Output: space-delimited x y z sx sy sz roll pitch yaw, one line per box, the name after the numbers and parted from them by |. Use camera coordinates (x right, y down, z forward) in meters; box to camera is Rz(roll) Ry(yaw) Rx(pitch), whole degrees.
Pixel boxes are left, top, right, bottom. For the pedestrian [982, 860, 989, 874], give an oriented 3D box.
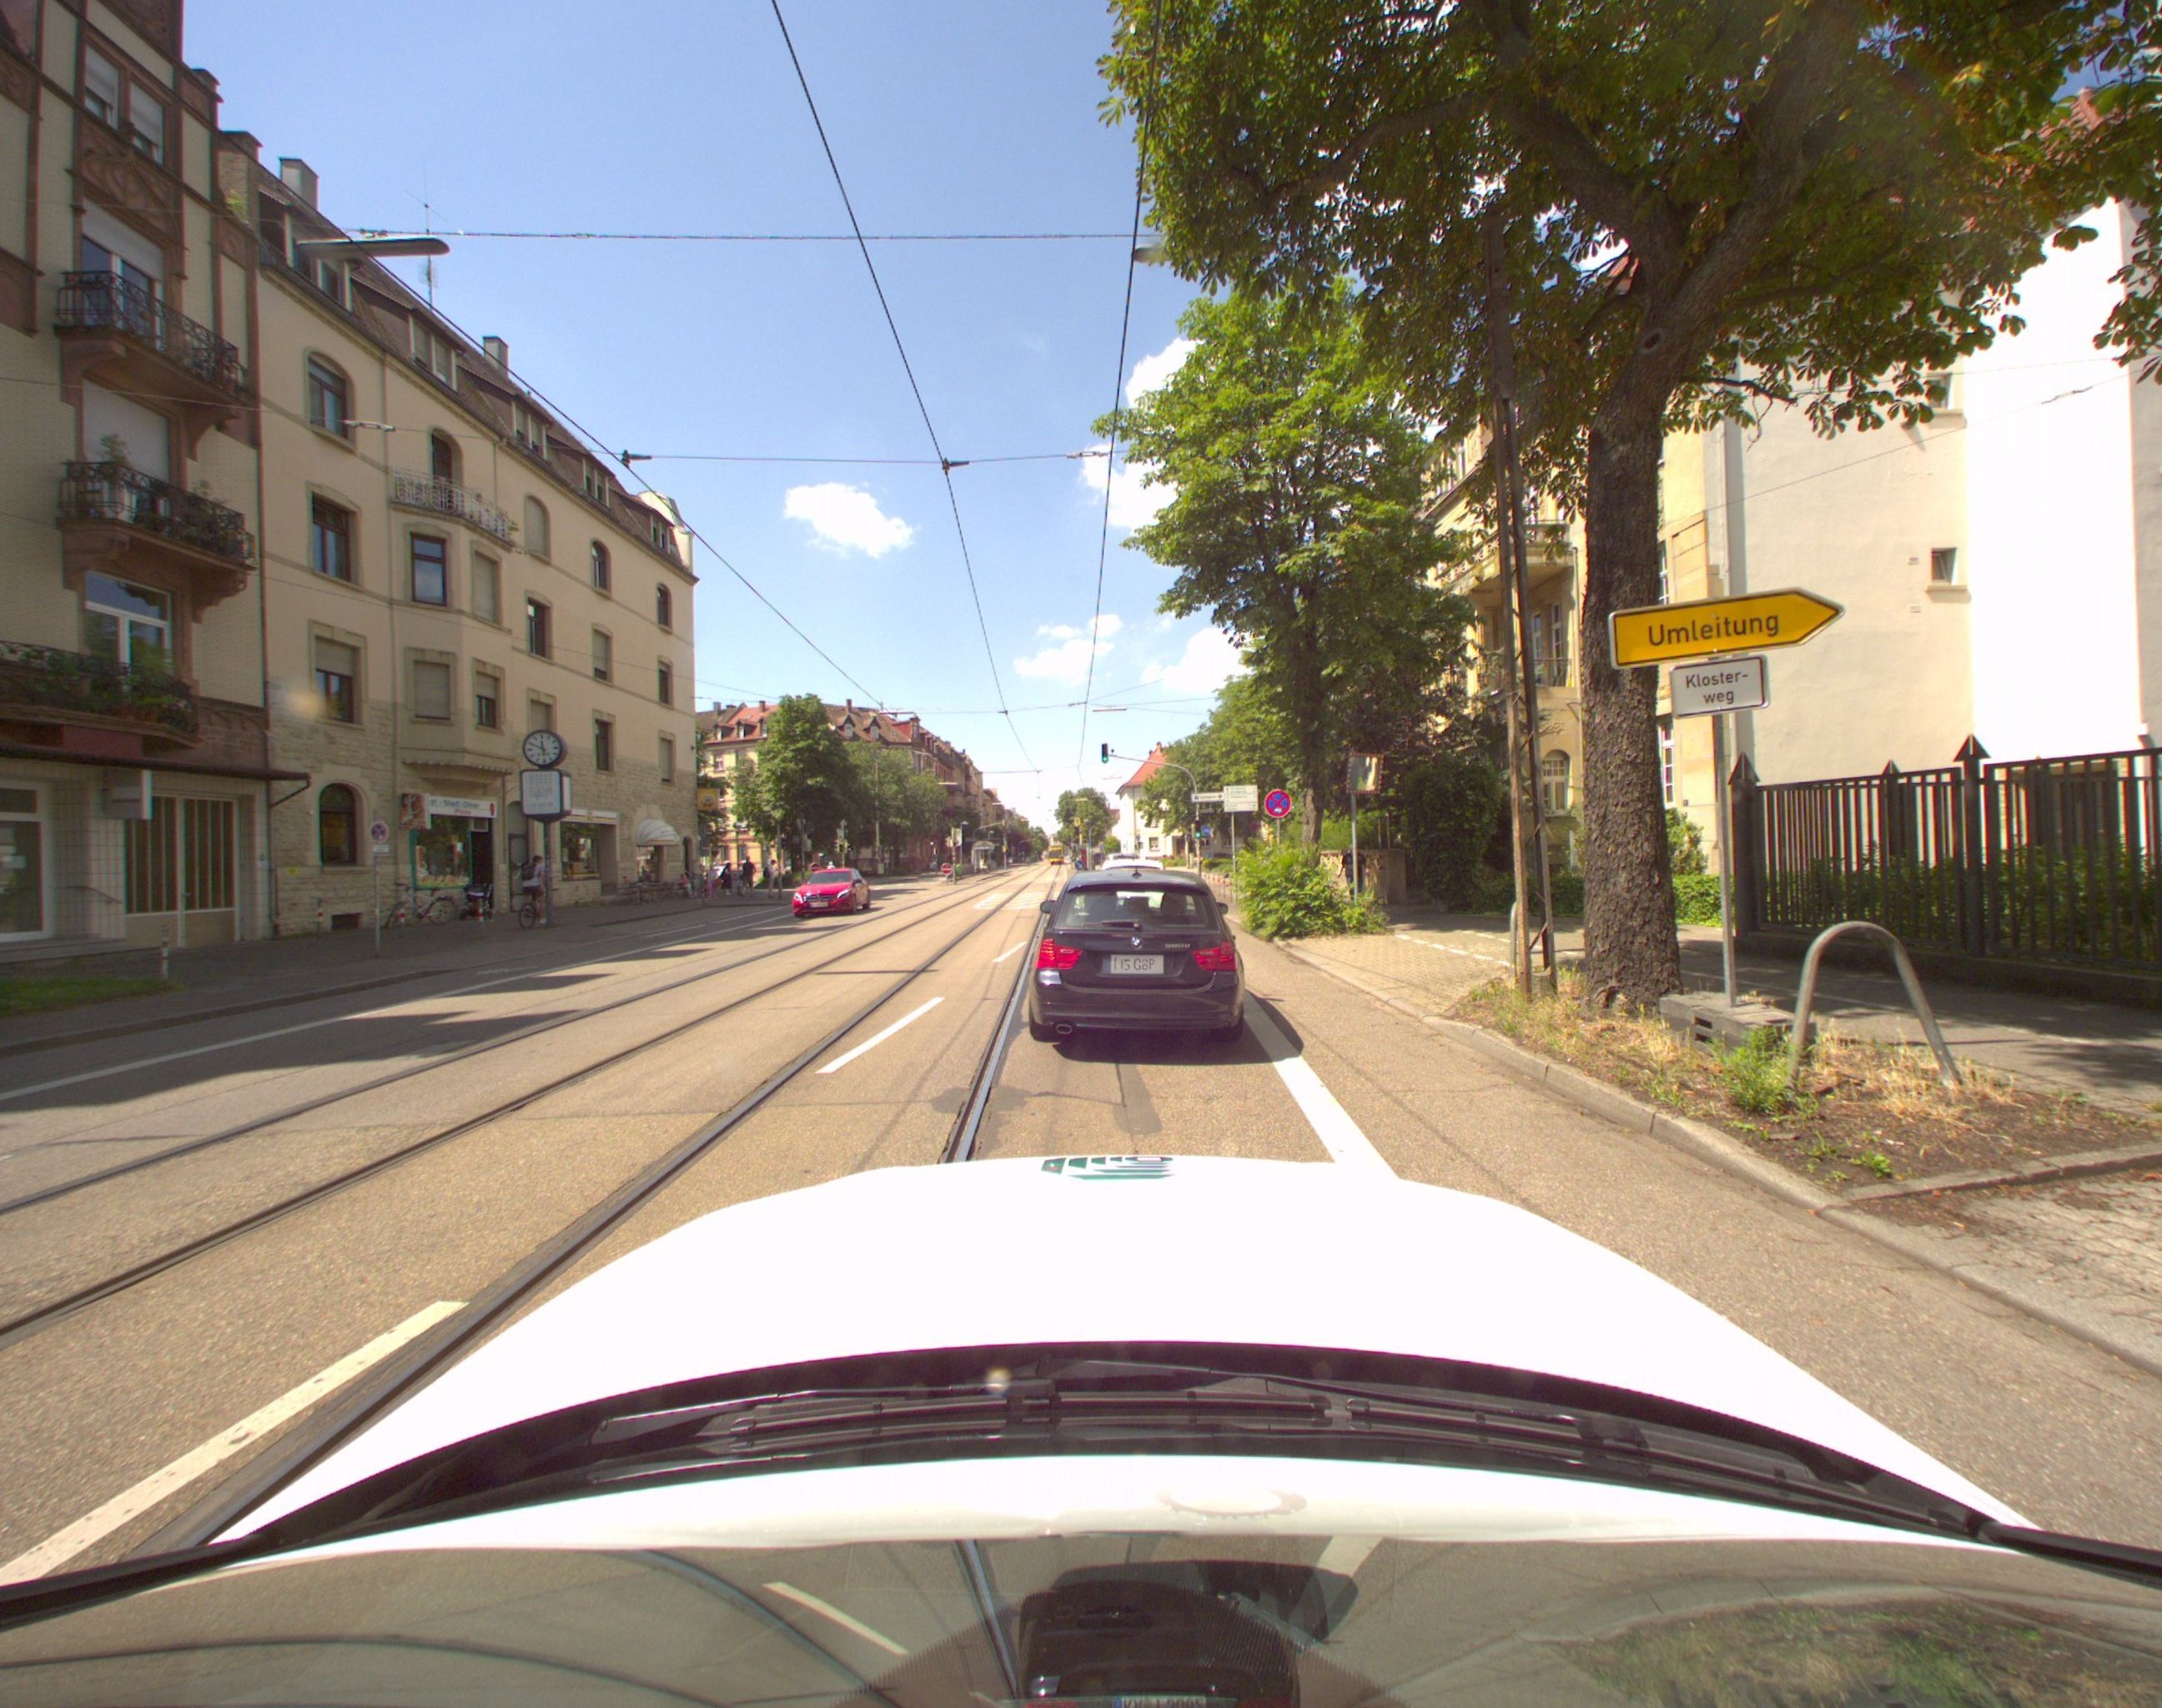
-8.401 1.130 71.736 0.613 1.243 0.626 -2 0 -7 | pedestrian

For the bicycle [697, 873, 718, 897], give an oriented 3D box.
-18.205 1.512 39.673 0.547 1.128 1.663 -1 -2 -38 | bicycle

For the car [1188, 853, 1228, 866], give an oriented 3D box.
13.747 0.598 88.343 3.948 1.243 1.634 -2 0 34 | car

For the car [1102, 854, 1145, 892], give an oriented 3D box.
1.805 0.774 34.780 1.684 1.514 3.824 -1 0 3 | car

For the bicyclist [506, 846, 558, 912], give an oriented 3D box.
-14.137 0.647 20.996 0.754 1.663 0.830 0 -1 -2 | bicyclist

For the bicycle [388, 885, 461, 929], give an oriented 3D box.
-17.131 1.359 21.276 0.366 1.066 1.473 -1 -1 22 | bicycle

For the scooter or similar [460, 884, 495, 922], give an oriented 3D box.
-17.358 1.390 23.400 0.700 1.044 1.195 0 -1 -42 | scooter or similar

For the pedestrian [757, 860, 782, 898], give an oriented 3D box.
-14.200 1.135 37.124 0.857 1.732 0.775 0 0 0 | pedestrian

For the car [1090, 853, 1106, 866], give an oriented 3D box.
2.488 0.776 121.997 1.990 1.849 3.993 -2 0 -5 | car

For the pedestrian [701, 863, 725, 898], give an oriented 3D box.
-16.946 1.212 37.519 0.812 1.595 0.910 -1 0 -34 | pedestrian

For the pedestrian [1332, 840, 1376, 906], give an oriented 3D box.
6.974 0.478 20.851 0.852 1.645 0.838 -2 0 6 | pedestrian

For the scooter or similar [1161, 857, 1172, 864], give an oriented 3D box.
10.568 0.784 100.563 1.310 0.837 0.525 -2 0 -7 | scooter or similar

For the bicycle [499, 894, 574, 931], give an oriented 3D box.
-14.090 1.493 21.131 0.750 0.817 1.818 -2 0 -3 | bicycle

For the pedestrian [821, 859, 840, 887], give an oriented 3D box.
-15.722 1.195 51.191 0.913 1.723 0.840 -2 0 -2 | pedestrian

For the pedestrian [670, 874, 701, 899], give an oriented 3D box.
-17.544 1.428 36.144 0.913 1.077 0.883 -2 0 0 | pedestrian

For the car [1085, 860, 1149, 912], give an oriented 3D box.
0.984 0.884 24.031 1.686 1.323 3.820 -2 0 0 | car

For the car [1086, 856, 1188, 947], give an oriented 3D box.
1.015 0.811 15.710 1.679 1.484 3.686 -2 0 2 | car

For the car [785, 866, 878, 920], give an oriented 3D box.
-7.801 1.153 25.863 1.820 1.413 4.421 -3 0 -5 | car

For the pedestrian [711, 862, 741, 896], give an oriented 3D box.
-17.719 1.230 40.641 1.018 1.635 0.864 -2 0 5 | pedestrian

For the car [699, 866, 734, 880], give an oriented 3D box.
-40.854 2.089 91.266 3.429 1.471 1.694 -2 0 23 | car

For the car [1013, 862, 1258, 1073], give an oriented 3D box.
0.544 0.821 8.044 1.715 1.409 4.570 0 0 4 | car

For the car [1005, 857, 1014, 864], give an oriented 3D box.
-17.175 1.646 196.065 1.787 1.586 3.986 0 -1 -10 | car

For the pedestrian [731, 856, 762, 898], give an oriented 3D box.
-15.572 1.064 37.931 0.898 1.891 1.164 -2 0 -2 | pedestrian

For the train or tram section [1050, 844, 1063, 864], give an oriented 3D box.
-4.477 0.015 151.617 2.184 3.482 8.839 -2 0 -1 | train or tram section
